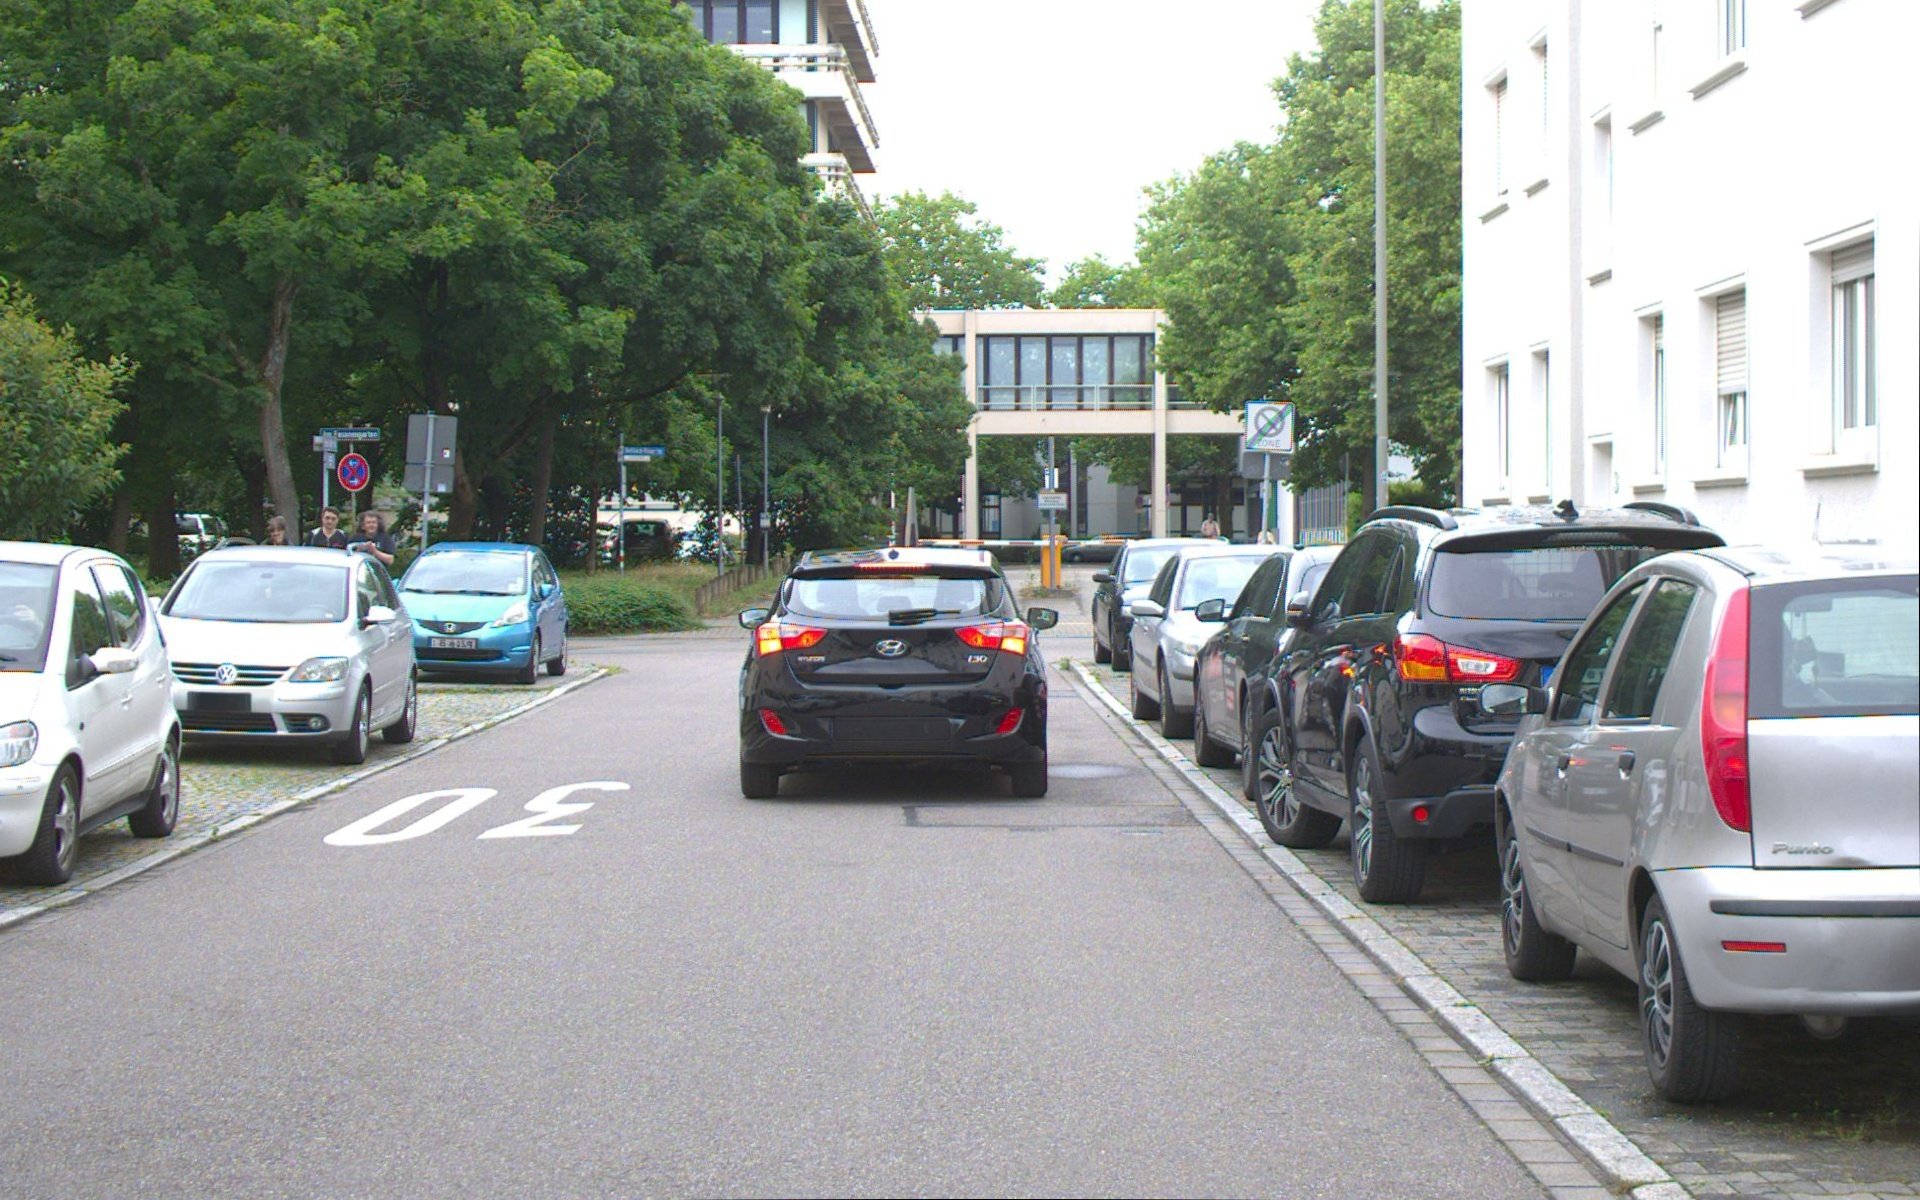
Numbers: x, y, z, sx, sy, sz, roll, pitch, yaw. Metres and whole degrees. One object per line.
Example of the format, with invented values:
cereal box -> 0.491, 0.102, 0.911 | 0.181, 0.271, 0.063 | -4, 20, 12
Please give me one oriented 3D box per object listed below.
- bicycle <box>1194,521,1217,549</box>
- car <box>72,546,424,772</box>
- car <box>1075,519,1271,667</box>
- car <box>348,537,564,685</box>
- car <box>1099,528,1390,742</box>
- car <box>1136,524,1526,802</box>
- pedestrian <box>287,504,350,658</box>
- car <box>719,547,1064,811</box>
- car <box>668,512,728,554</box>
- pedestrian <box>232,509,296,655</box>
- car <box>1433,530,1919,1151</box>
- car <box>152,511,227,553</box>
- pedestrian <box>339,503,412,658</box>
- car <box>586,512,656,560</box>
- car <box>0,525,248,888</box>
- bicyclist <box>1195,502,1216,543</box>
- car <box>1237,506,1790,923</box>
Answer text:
bicycle -> 8.690, -2.306, 121.643 | 0.693, 0.993, 1.735 | 0, 2, 1
car -> -5.291, 0.382, 26.039 | 1.993, 1.535, 4.001 | 1, 1, -3
car -> 2.332, -0.124, 38.698 | 1.820, 1.514, 4.674 | -1, 1, -1
car -> -5.568, 0.082, 38.420 | 1.993, 1.535, 4.001 | 1, 1, -3
car -> 2.135, 0.201, 26.958 | 1.820, 1.514, 4.674 | 0, 1, -1
car -> 2.159, 0.297, 21.207 | 1.820, 1.514, 4.674 | 0, 1, -1
pedestrian -> -7.690, -0.236, 41.230 | 0.605, 1.825, 0.675 | 0, 1, 2
car -> -0.372, 0.410, 21.204 | 1.903, 1.428, 4.233 | -1, 1, 0
car -> -8.377, -2.153, 110.055 | 1.665, 1.328, 3.396 | 0, 2, 0
pedestrian -> -8.205, -0.222, 40.537 | 0.600, 1.707, 0.648 | 0, 1, 2
car -> 2.651, 0.557, 10.581 | 1.820, 1.498, 4.091 | -1, 1, 0
car -> -24.760, -2.208, 110.551 | 1.665, 1.328, 3.396 | 0, 2, 0
pedestrian -> -6.959, -0.244, 40.989 | 0.714, 1.825, 0.797 | 0, 1, 2
car -> -9.511, -1.803, 96.623 | 1.665, 1.328, 3.396 | 0, 2, 0
car -> -5.110, 0.425, 17.793 | 1.895, 1.593, 4.521 | 2, 1, 0
bicyclist -> 8.694, -2.751, 121.667 | 0.693, 1.439, 0.795 | 0, 1, 0
car -> 2.297, 0.395, 15.275 | 1.820, 1.597, 4.091 | 0, 1, 0
